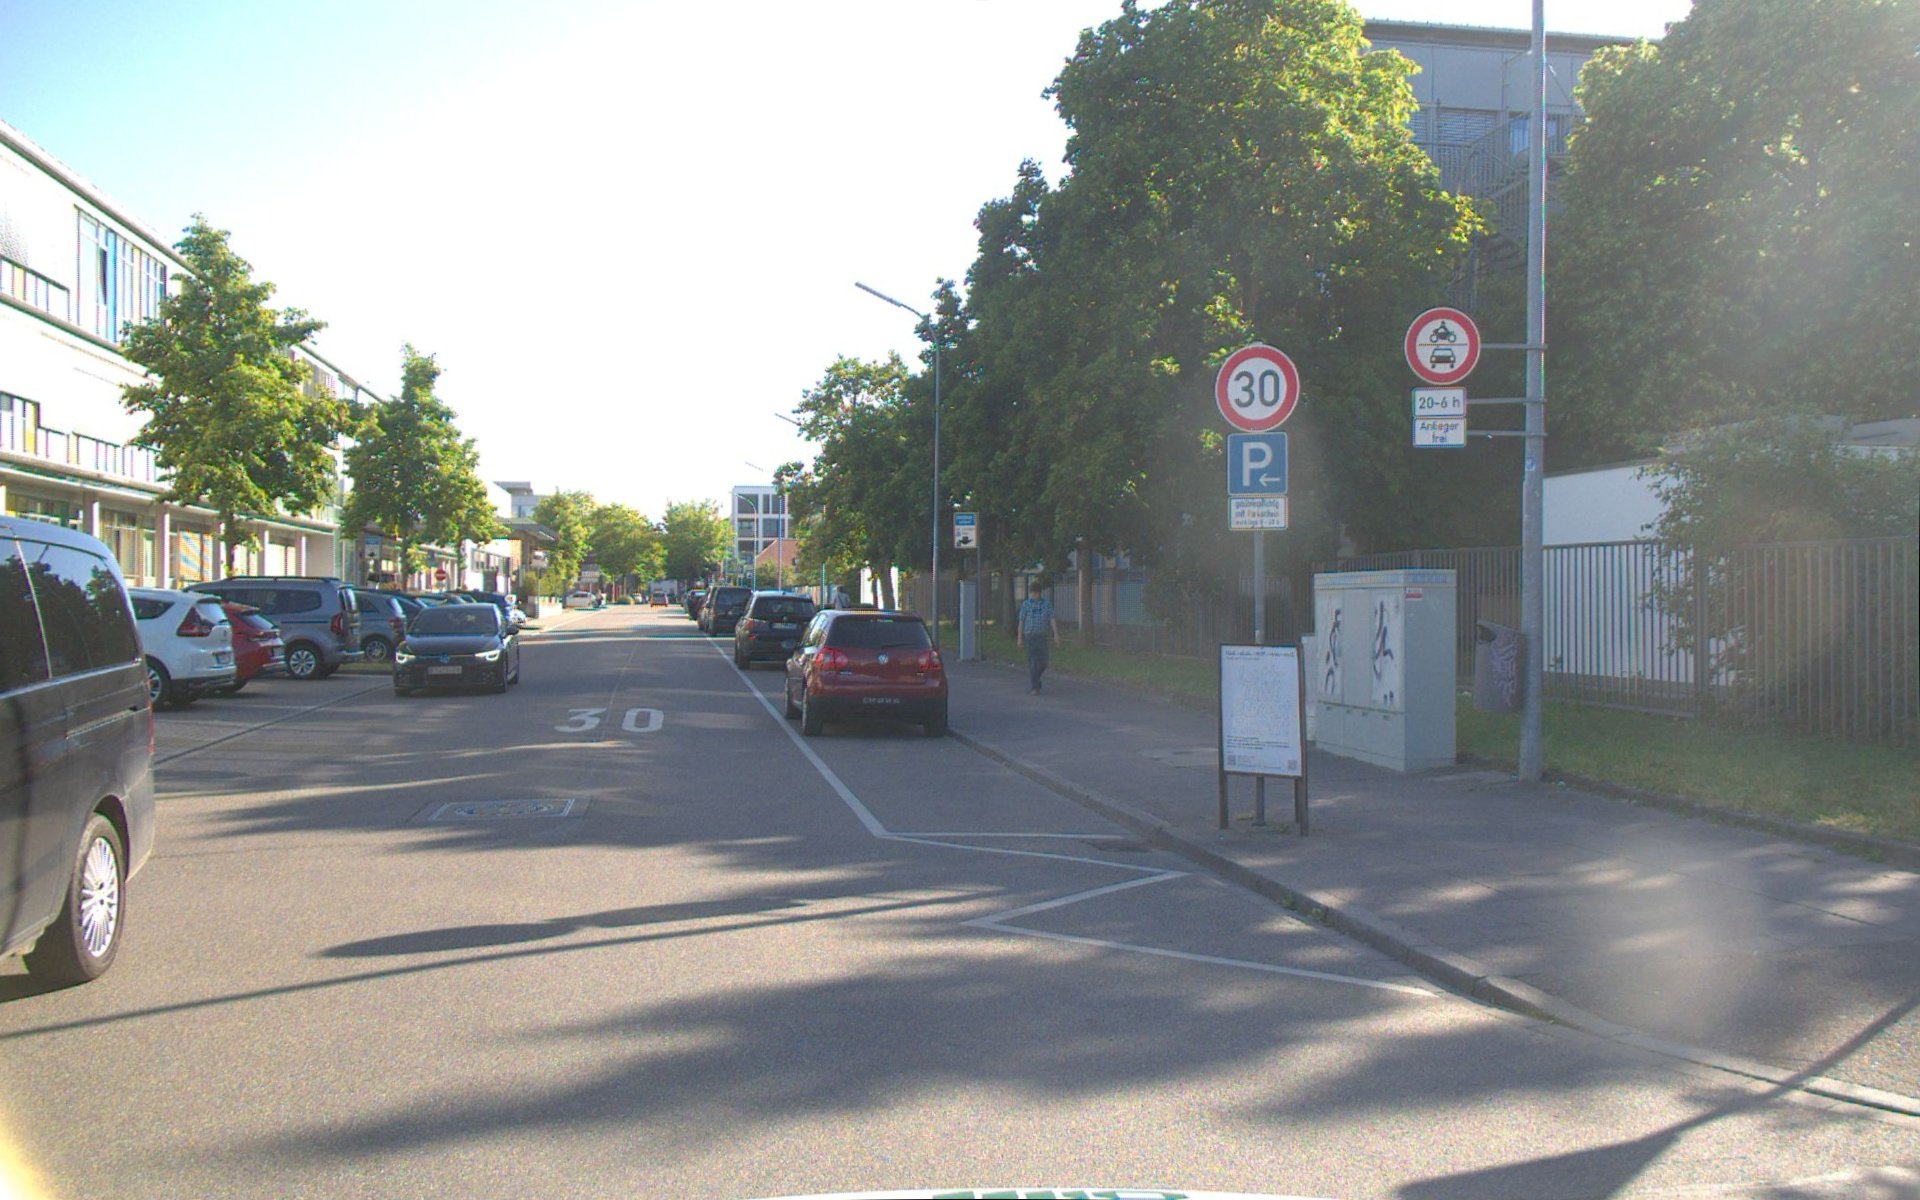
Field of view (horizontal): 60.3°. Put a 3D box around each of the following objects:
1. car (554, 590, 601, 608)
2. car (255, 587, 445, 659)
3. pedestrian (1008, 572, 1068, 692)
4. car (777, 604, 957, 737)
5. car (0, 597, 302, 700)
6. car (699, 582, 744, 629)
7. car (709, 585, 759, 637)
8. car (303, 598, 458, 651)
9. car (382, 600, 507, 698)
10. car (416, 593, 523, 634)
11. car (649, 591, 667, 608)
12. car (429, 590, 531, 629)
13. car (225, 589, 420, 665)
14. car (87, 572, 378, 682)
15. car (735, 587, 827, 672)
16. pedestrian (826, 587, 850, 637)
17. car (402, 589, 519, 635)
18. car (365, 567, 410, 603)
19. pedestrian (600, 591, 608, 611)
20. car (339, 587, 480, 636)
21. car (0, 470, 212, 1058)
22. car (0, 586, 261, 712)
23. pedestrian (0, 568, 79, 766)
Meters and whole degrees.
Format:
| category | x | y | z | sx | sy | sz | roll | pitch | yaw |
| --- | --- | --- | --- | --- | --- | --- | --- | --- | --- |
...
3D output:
| category | x | y | z | sx | sy | sz | roll | pitch | yaw |
| --- | --- | --- | --- | --- | --- | --- | --- | --- | --- |
| car | -33.600 | -0.055 | 145.524 | 3.914 | 1.546 | 1.995 | 0 | -1 | -10 |
| car | -15.031 | 0.559 | 40.989 | 4.174 | 1.640 | 2.041 | 1 | 0 | -14 |
| pedestrian | 1.206 | 0.483 | 25.613 | 0.704 | 1.788 | 0.883 | -2 | 1 | -10 |
| car | -1.303 | 0.816 | 21.140 | 1.689 | 1.480 | 4.640 | 1 | 0 | -11 |
| car | -12.699 | 0.722 | 25.597 | 4.353 | 1.527 | 1.823 | 0 | 0 | -10 |
| car | -10.653 | 0.218 | 73.674 | 1.841 | 2.013 | 3.990 | -1 | 0 | -10 |
| car | -8.426 | 0.397 | 61.417 | 1.701 | 1.862 | 3.896 | 0 | 0 | -10 |
| car | -16.292 | 0.679 | 46.677 | 3.920 | 1.382 | 1.737 | 1 | 0 | -14 |
| car | -8.601 | 0.758 | 27.876 | 1.674 | 1.476 | 4.072 | -1 | 0 | -13 |
| car | -19.471 | 0.523 | 65.781 | 3.918 | 1.579 | 1.993 | -1 | 0 | -13 |
| car | -30.000 | -0.049 | 164.321 | 1.712 | 1.570 | 3.990 | 1 | 0 | -10 |
| car | -19.773 | 0.385 | 68.270 | 3.918 | 1.579 | 1.993 | 0 | 1 | -13 |
| car | -14.588 | 0.607 | 38.073 | 3.920 | 1.635 | 1.865 | 1 | 0 | -14 |
| car | -13.588 | 0.499 | 31.162 | 4.656 | 1.897 | 1.823 | 2 | 0 | -10 |
| car | -4.053 | 0.605 | 36.904 | 1.779 | 1.695 | 4.583 | 1 | 1 | -9 |
| pedestrian | -4.225 | 0.419 | 57.289 | 0.686 | 1.690 | 0.750 | -3 | 1 | -11 |
| car | -19.102 | 0.448 | 63.378 | 4.143 | 1.631 | 1.865 | 1 | 0 | -14 |
| car | -34.517 | -0.869 | 99.820 | 1.957 | 2.049 | 3.990 | 0 | -1 | -10 |
| pedestrian | -29.940 | 0.117 | 139.013 | 0.607 | 1.652 | 0.714 | -1 | 0 | -11 |
| car | -17.737 | 0.369 | 53.473 | 4.143 | 1.488 | 1.865 | 1 | 0 | -14 |
| car | -4.029 | 0.550 | 4.996 | 1.919 | 1.900 | 5.242 | -1 | 0 | -10 |
| car | -12.363 | 0.652 | 22.981 | 4.524 | 1.680 | 1.865 | 0 | 0 | -7 |
| pedestrian | -9.263 | 0.632 | 16.178 | 0.842 | 1.874 | 0.824 | 2 | 0 | -9 |
